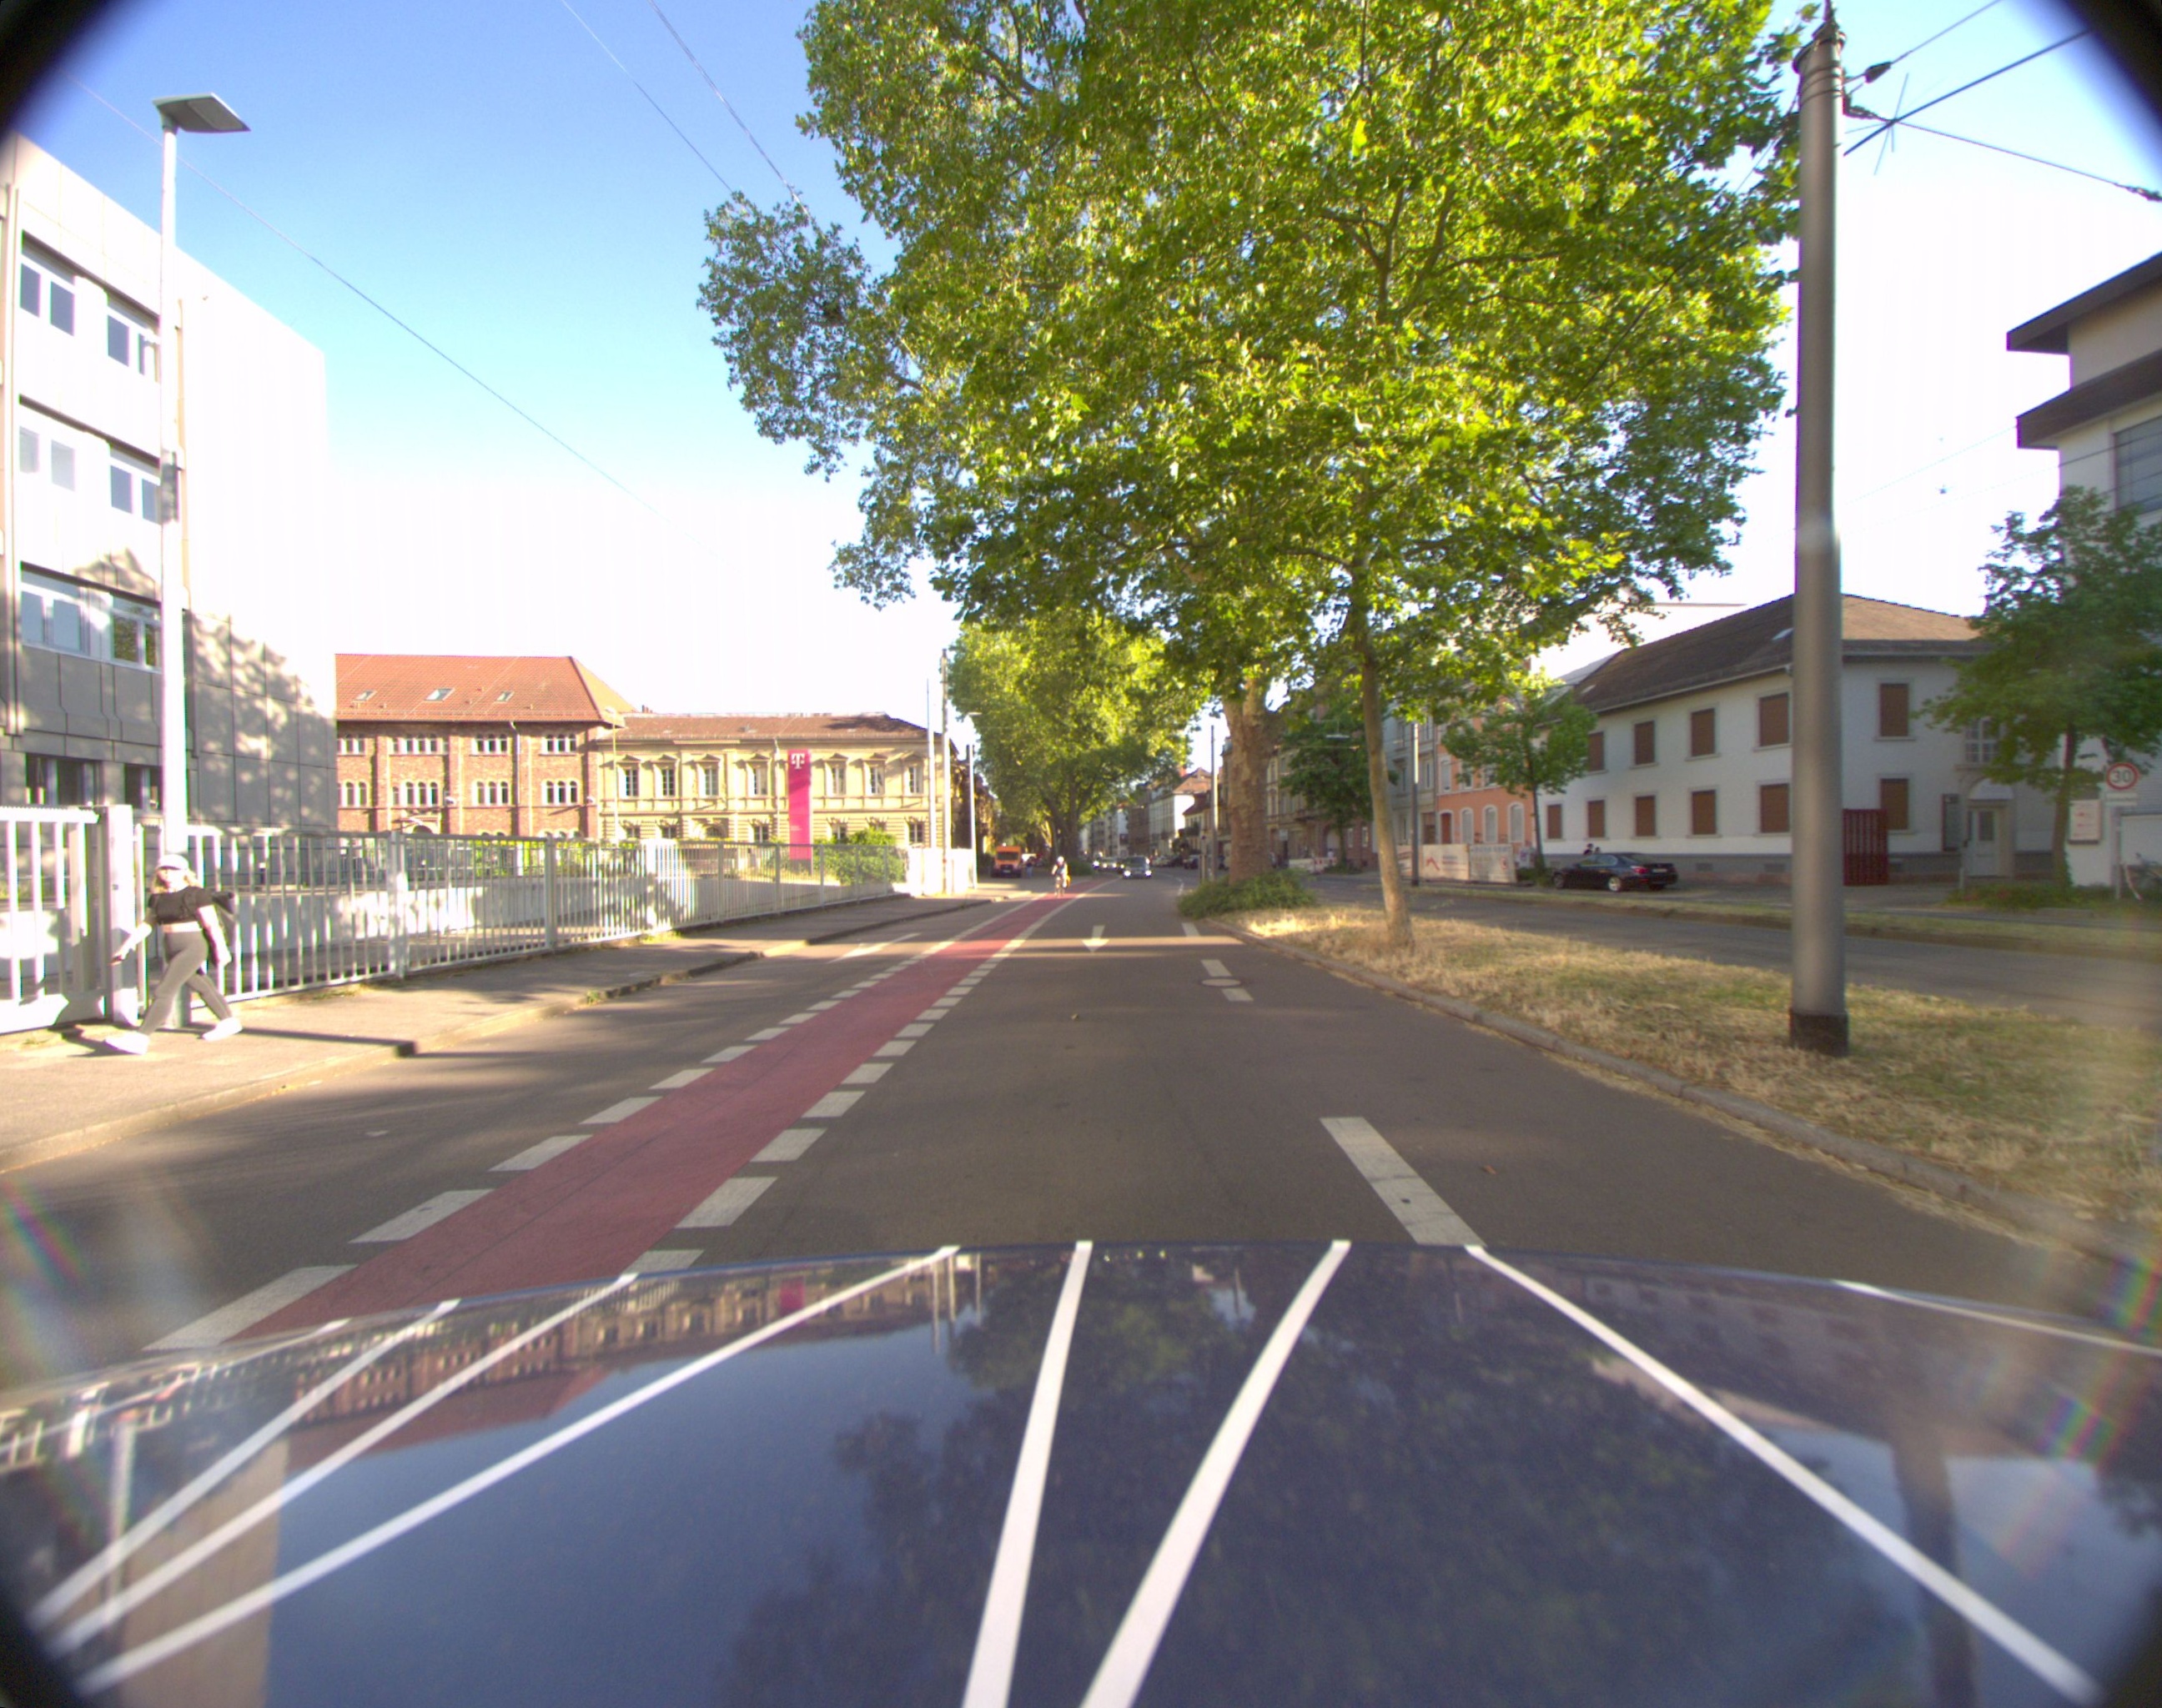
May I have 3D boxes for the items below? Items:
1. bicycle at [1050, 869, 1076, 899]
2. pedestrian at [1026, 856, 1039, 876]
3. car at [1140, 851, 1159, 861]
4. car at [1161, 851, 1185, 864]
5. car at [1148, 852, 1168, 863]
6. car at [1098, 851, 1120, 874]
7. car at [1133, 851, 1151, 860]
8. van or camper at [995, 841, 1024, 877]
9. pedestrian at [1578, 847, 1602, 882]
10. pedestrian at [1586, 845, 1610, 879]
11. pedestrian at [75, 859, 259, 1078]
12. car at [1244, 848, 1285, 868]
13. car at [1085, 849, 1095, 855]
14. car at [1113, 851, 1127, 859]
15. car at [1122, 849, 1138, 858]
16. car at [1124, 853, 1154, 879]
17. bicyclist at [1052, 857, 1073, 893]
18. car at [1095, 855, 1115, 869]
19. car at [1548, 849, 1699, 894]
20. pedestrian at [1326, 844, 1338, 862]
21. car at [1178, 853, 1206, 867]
[{"bbox_3d":[-0.720,1.214,31.567,0.764,1.137,2.307,-1,0,6],"label":"bicycle"},{"bbox_3d":[-3.596,0.874,56.624,0.898,1.464,0.810,-1,1,1],"label":"pedestrian"},{"bbox_3d":[10.820,0.337,120.796,2.088,1.531,4.095,-4,1,-7],"label":"car"},{"bbox_3d":[12.766,0.479,105.997,2.088,1.531,5.101,-4,1,-7],"label":"car"},{"bbox_3d":[11.627,0.554,114.879,2.088,1.531,4.036,-4,1,-7],"label":"car"},{"bbox_3d":[2.641,0.738,71.299,1.998,2.002,4.000,-2,1,2],"label":"car"},{"bbox_3d":[10.491,0.257,130.706,2.088,1.531,4.253,-4,1,-7],"label":"car"},{"bbox_3d":[-5.442,0.356,58.706,1.999,2.578,5.623,-2,1,-4],"label":"van or camper"},{"bbox_3d":[22.522,0.451,33.637,0.537,1.519,0.711,-1,1,-11],"label":"pedestrian"},{"bbox_3d":[23.384,0.343,34.378,0.537,1.519,0.711,-1,1,-5],"label":"pedestrian"},{"bbox_3d":[-7.785,0.929,6.511,0.592,1.752,0.770,-1,1,1],"label":"pedestrian"},{"bbox_3d":[16.893,0.366,70.195,2.088,1.664,4.530,-4,1,-7],"label":"car"},{"bbox_3d":[2.555,-0.689,218.655,2.088,1.531,4.124,-4,1,-7],"label":"car"},{"bbox_3d":[7.960,0.248,156.232,2.088,1.531,4.117,-4,1,-7],"label":"car"},{"bbox_3d":[9.023,-0.035,140.917,2.088,1.531,4.006,-4,1,-7],"label":"car"},{"bbox_3d":[4.091,0.828,53.882,1.908,1.634,4.517,-3,1,3],"label":"car"},{"bbox_3d":[-0.754,0.847,31.348,0.727,1.414,0.859,-2,1,5],"label":"bicyclist"},{"bbox_3d":[2.631,0.865,82.653,1.998,1.376,4.000,-2,1,2],"label":"car"},{"bbox_3d":[20.531,0.619,29.052,2.088,1.462,4.576,-4,1,-7],"label":"car"},{"bbox_3d":[20.982,-0.103,63.509,0.642,1.519,0.614,-1,1,-17],"label":"pedestrian"},{"bbox_3d":[13.541,0.697,92.922,2.088,1.531,4.513,-4,1,-7],"label":"car"}]
